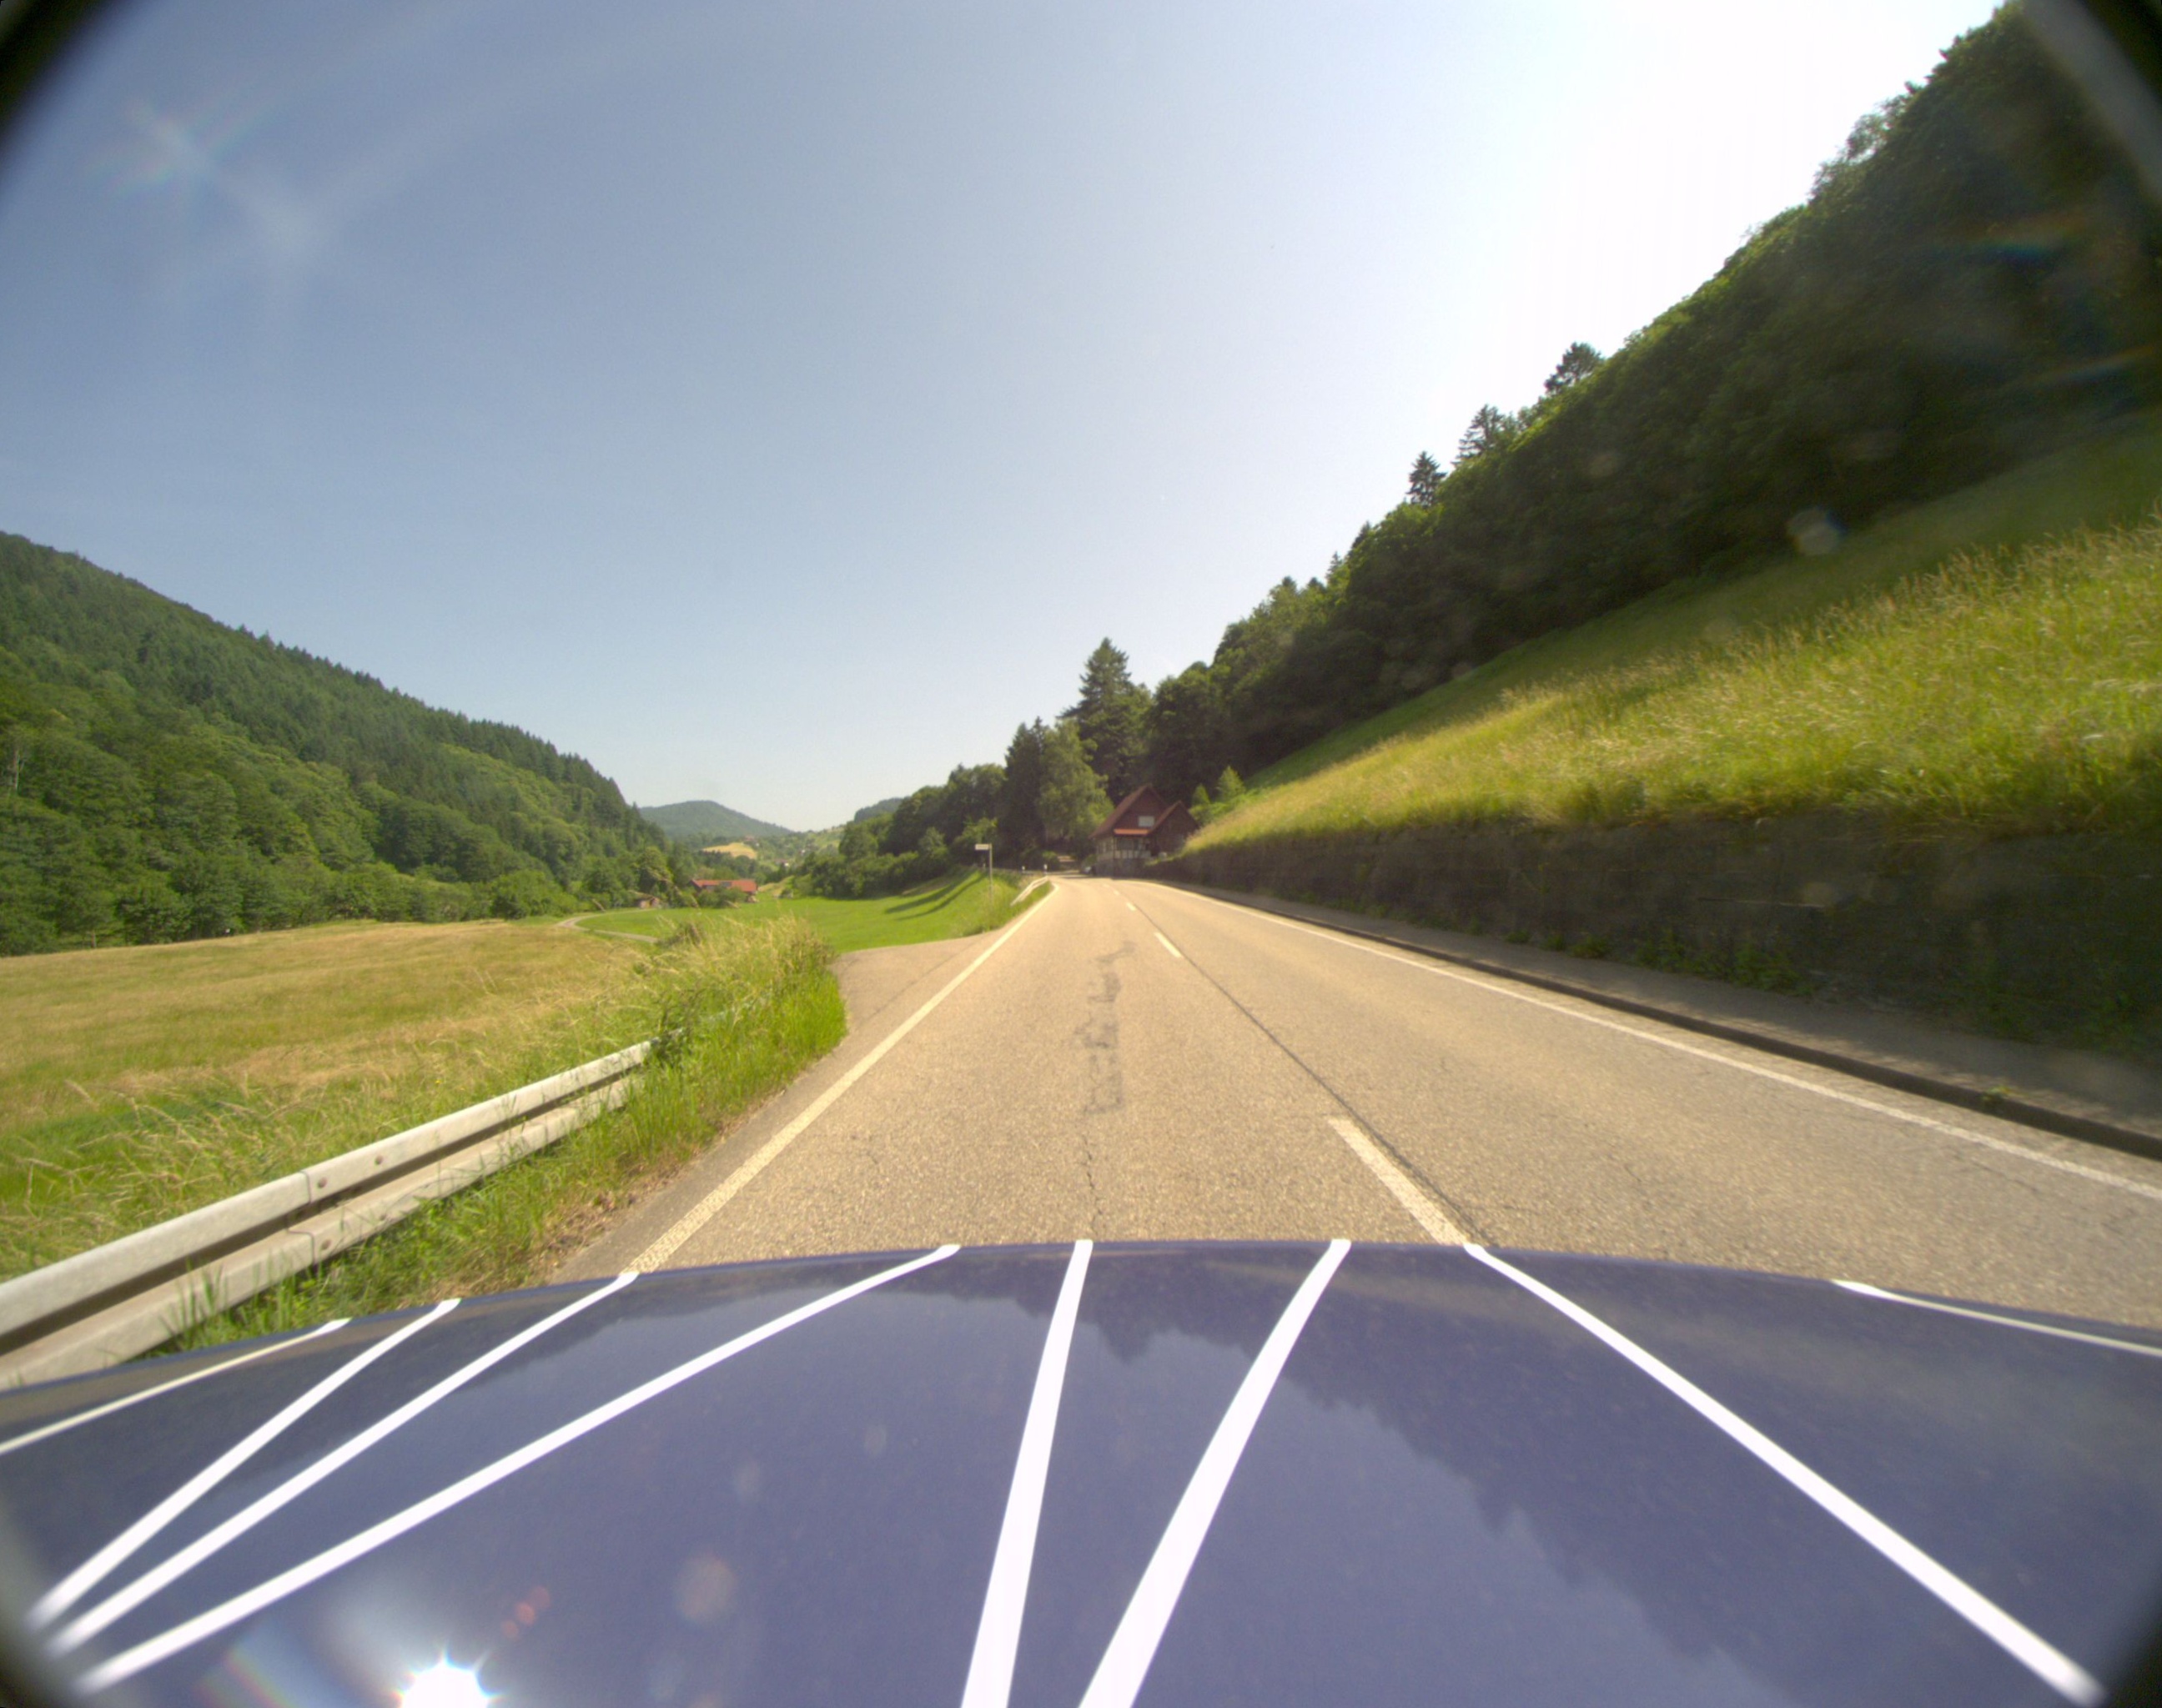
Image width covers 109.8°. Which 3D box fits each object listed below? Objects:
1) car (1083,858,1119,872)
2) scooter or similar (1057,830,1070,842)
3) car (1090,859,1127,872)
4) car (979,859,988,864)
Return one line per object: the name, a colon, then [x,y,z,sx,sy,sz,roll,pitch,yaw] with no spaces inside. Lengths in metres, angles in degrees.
car: [2.304,1.280,88.021,3.830,1.408,1.855,-1,-1,-14]
scooter or similar: [-3.345,-3.438,142.631,1.984,2.015,4.402,-5,1,-6]
car: [3.107,1.271,85.933,3.830,1.424,1.861,0,1,-13]
car: [-28.308,2.248,220.643,1.771,1.388,4.138,-2,1,-17]
